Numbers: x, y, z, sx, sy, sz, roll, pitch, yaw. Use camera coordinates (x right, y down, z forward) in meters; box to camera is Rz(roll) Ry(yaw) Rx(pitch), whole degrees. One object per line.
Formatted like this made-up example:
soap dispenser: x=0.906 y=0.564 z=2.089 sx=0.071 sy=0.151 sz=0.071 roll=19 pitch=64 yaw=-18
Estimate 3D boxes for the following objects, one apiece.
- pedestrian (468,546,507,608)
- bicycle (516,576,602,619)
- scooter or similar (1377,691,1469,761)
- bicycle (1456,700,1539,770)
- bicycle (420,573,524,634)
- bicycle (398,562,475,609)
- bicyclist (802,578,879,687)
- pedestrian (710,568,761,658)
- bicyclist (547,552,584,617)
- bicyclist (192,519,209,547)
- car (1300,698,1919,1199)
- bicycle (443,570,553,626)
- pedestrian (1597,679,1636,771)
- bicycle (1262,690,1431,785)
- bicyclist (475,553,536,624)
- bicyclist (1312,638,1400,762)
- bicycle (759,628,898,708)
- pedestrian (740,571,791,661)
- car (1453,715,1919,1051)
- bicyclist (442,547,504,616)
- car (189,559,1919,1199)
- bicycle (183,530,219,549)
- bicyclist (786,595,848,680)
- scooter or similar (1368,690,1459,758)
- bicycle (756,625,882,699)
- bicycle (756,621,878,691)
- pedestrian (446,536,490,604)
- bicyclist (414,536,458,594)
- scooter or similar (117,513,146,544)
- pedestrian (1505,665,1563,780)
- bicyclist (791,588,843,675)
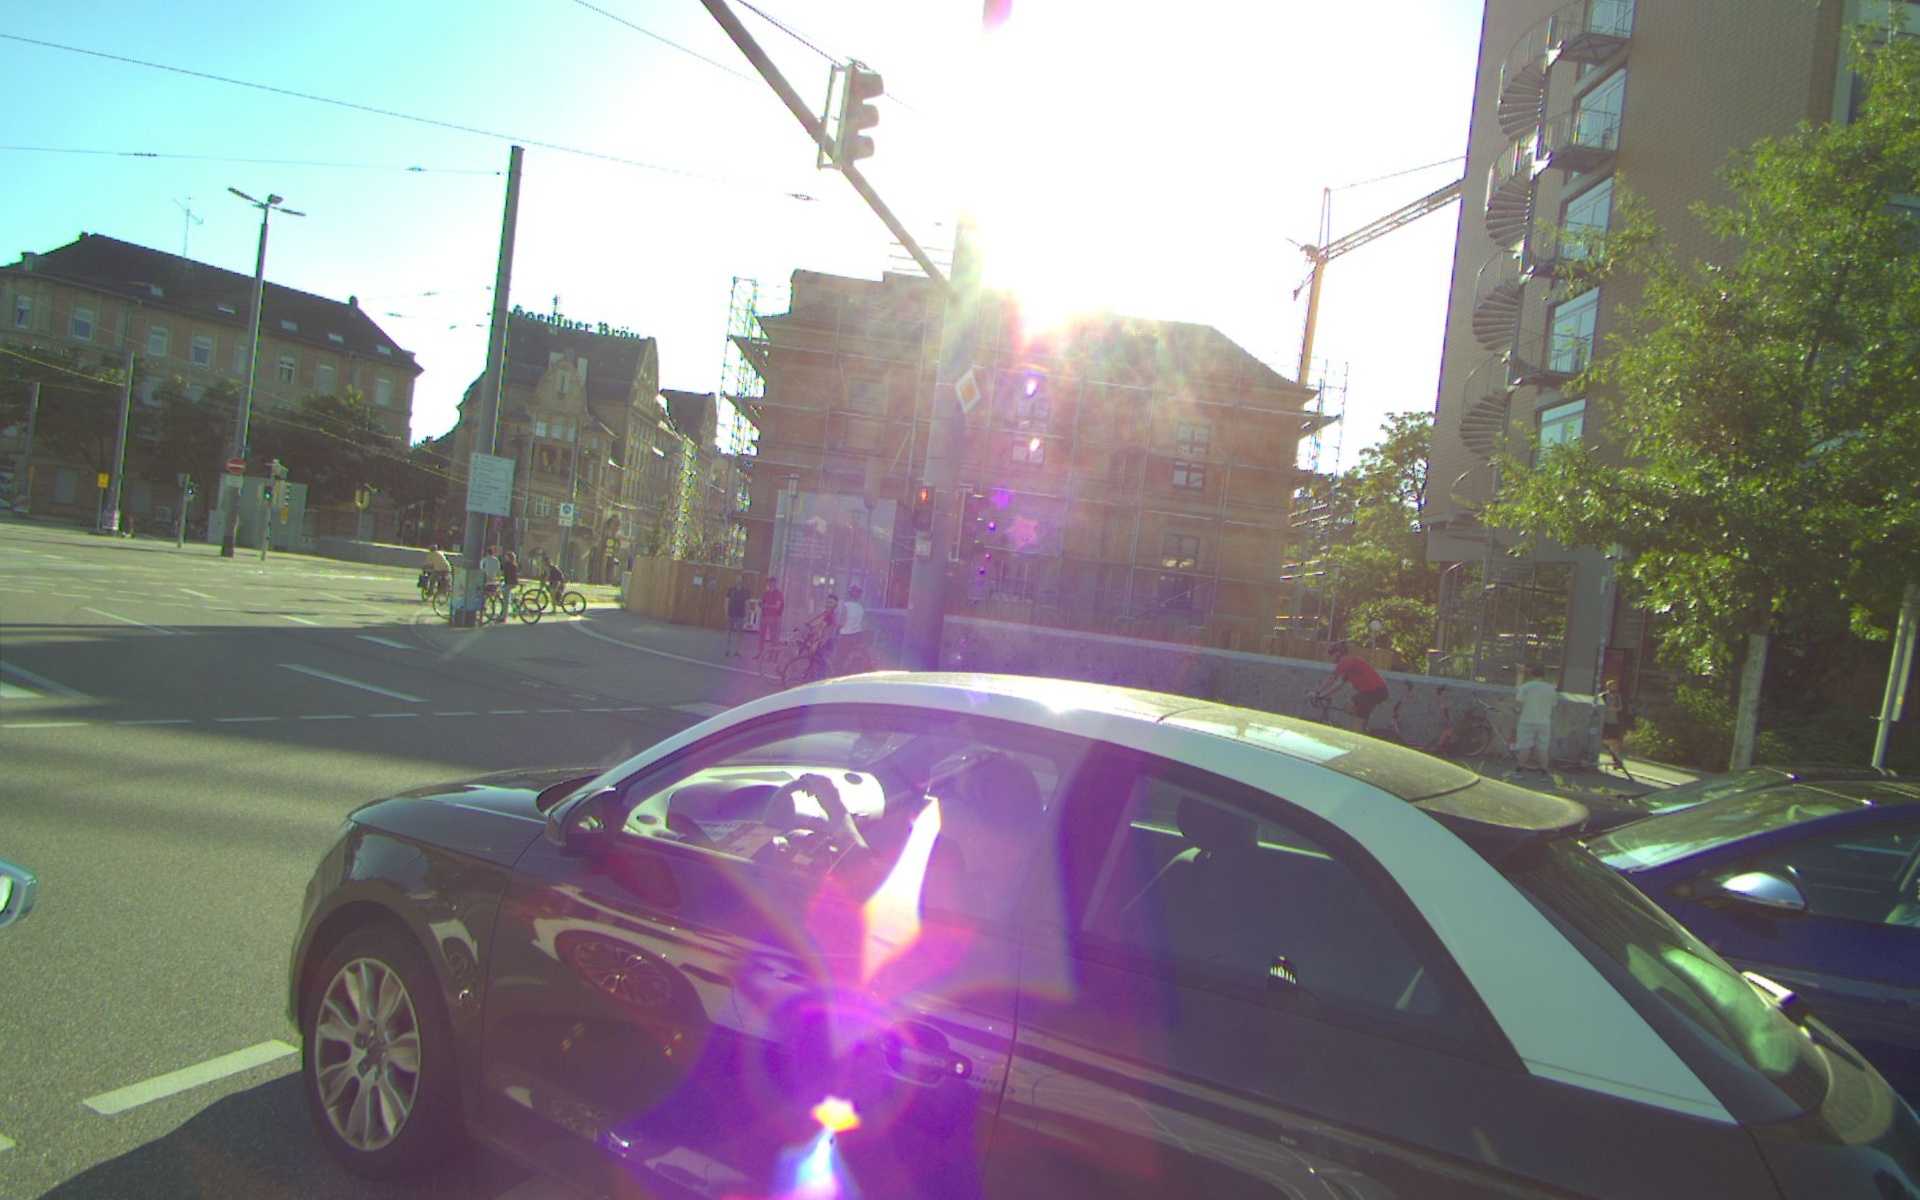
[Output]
pedestrian: x=-15.506 y=-0.752 z=33.038 sx=0.678 sy=1.944 sz=0.649 roll=6 pitch=-1 yaw=23
bicycle: x=-11.847 y=-0.064 z=29.742 sx=2.290 sy=1.063 sz=0.532 roll=5 pitch=2 yaw=-26
scooter or similar: x=7.982 y=2.161 z=17.380 sx=1.347 sy=1.007 sz=0.342 roll=6 pitch=-1 yaw=23
bicycle: x=9.143 y=2.289 z=17.155 sx=0.352 sy=1.015 sz=1.149 roll=8 pitch=-2 yaw=-30
bicycle: x=-11.360 y=0.076 z=23.404 sx=2.277 sy=1.061 sz=0.701 roll=8 pitch=-1 yaw=21
bicycle: x=-15.425 y=-0.420 z=29.629 sx=2.278 sy=1.061 sz=0.536 roll=8 pitch=-1 yaw=22
bicyclist: x=-1.840 y=0.509 z=15.554 sx=0.780 sy=1.571 sz=0.668 roll=6 pitch=-2 yaw=26
pedestrian: x=-4.819 y=0.272 z=21.600 sx=0.672 sy=1.830 sz=0.672 roll=7 pitch=1 yaw=9
bicyclist: x=-11.693 y=-0.461 z=29.795 sx=0.785 sy=1.800 sz=0.520 roll=8 pitch=-1 yaw=-25
bicyclist: x=-48.273 y=-4.265 z=63.962 sx=0.511 sy=1.720 sz=0.516 roll=6 pitch=-1 yaw=24
car: x=3.577 y=1.368 z=3.902 sx=3.933 sy=1.420 sz=1.627 roll=6 pitch=-2 yaw=30
bicycle: x=-11.209 y=-0.039 z=24.443 sx=2.276 sy=1.061 sz=0.702 roll=7 pitch=-2 yaw=6
pedestrian: x=12.917 y=2.453 z=19.803 sx=0.369 sy=1.752 sz=0.445 roll=6 pitch=-1 yaw=15
bicycle: x=5.331 y=1.867 z=13.941 sx=2.004 sy=0.975 sz=0.658 roll=5 pitch=0 yaw=36
bicyclist: x=-11.025 y=-0.263 z=24.421 sx=0.929 sy=1.575 sz=0.711 roll=7 pitch=-1 yaw=6
bicyclist: x=5.461 y=1.373 z=13.875 sx=0.858 sy=1.578 sz=0.616 roll=6 pitch=-2 yaw=36
bicycle: x=-2.047 y=1.044 z=15.619 sx=1.999 sy=0.974 sz=0.660 roll=6 pitch=-2 yaw=25
pedestrian: x=-4.139 y=0.353 z=21.463 sx=0.672 sy=1.828 sz=0.673 roll=7 pitch=-1 yaw=9
car: x=5.464 y=1.702 z=5.917 sx=4.434 sy=1.420 sz=1.728 roll=6 pitch=-2 yaw=29
bicyclist: x=-11.338 y=-0.427 z=23.432 sx=0.930 sy=1.456 sz=0.710 roll=6 pitch=-2 yaw=22
car: x=0.042 y=0.846 z=2.508 sx=3.933 sy=1.420 sz=1.627 roll=6 pitch=-2 yaw=30
bicycle: x=-48.275 y=-3.856 z=63.999 sx=0.647 sy=0.963 sz=1.601 roll=6 pitch=-2 yaw=22
bicyclist: x=-2.406 y=0.645 z=16.958 sx=0.661 sy=1.330 sz=0.617 roll=6 pitch=-2 yaw=26
scooter or similar: x=8.132 y=2.212 z=18.052 sx=1.346 sy=1.007 sz=0.343 roll=7 pitch=-1 yaw=11
bicycle: x=-2.389 y=1.024 z=16.933 sx=1.999 sy=0.976 sz=0.659 roll=6 pitch=1 yaw=25
bicycle: x=-2.571 y=0.992 z=18.146 sx=1.997 sy=0.976 sz=0.660 roll=7 pitch=2 yaw=3
pedestrian: x=-15.826 y=-0.966 z=32.375 sx=0.747 sy=2.037 sz=0.733 roll=6 pitch=-1 yaw=23
bicyclist: x=-15.455 y=-1.040 z=29.684 sx=0.930 sy=1.575 sz=0.517 roll=6 pitch=-1 yaw=22
scooter or similar: x=-40.999 y=-3.557 z=49.776 sx=1.884 sy=1.392 sz=0.785 roll=5 pitch=-2 yaw=45
pedestrian: x=8.893 y=1.881 z=15.610 sx=0.591 sy=1.662 sz=0.677 roll=6 pitch=2 yaw=28
bicyclist: x=-2.567 y=0.566 z=18.146 sx=0.661 sy=1.471 sz=0.618 roll=7 pitch=-1 yaw=1
